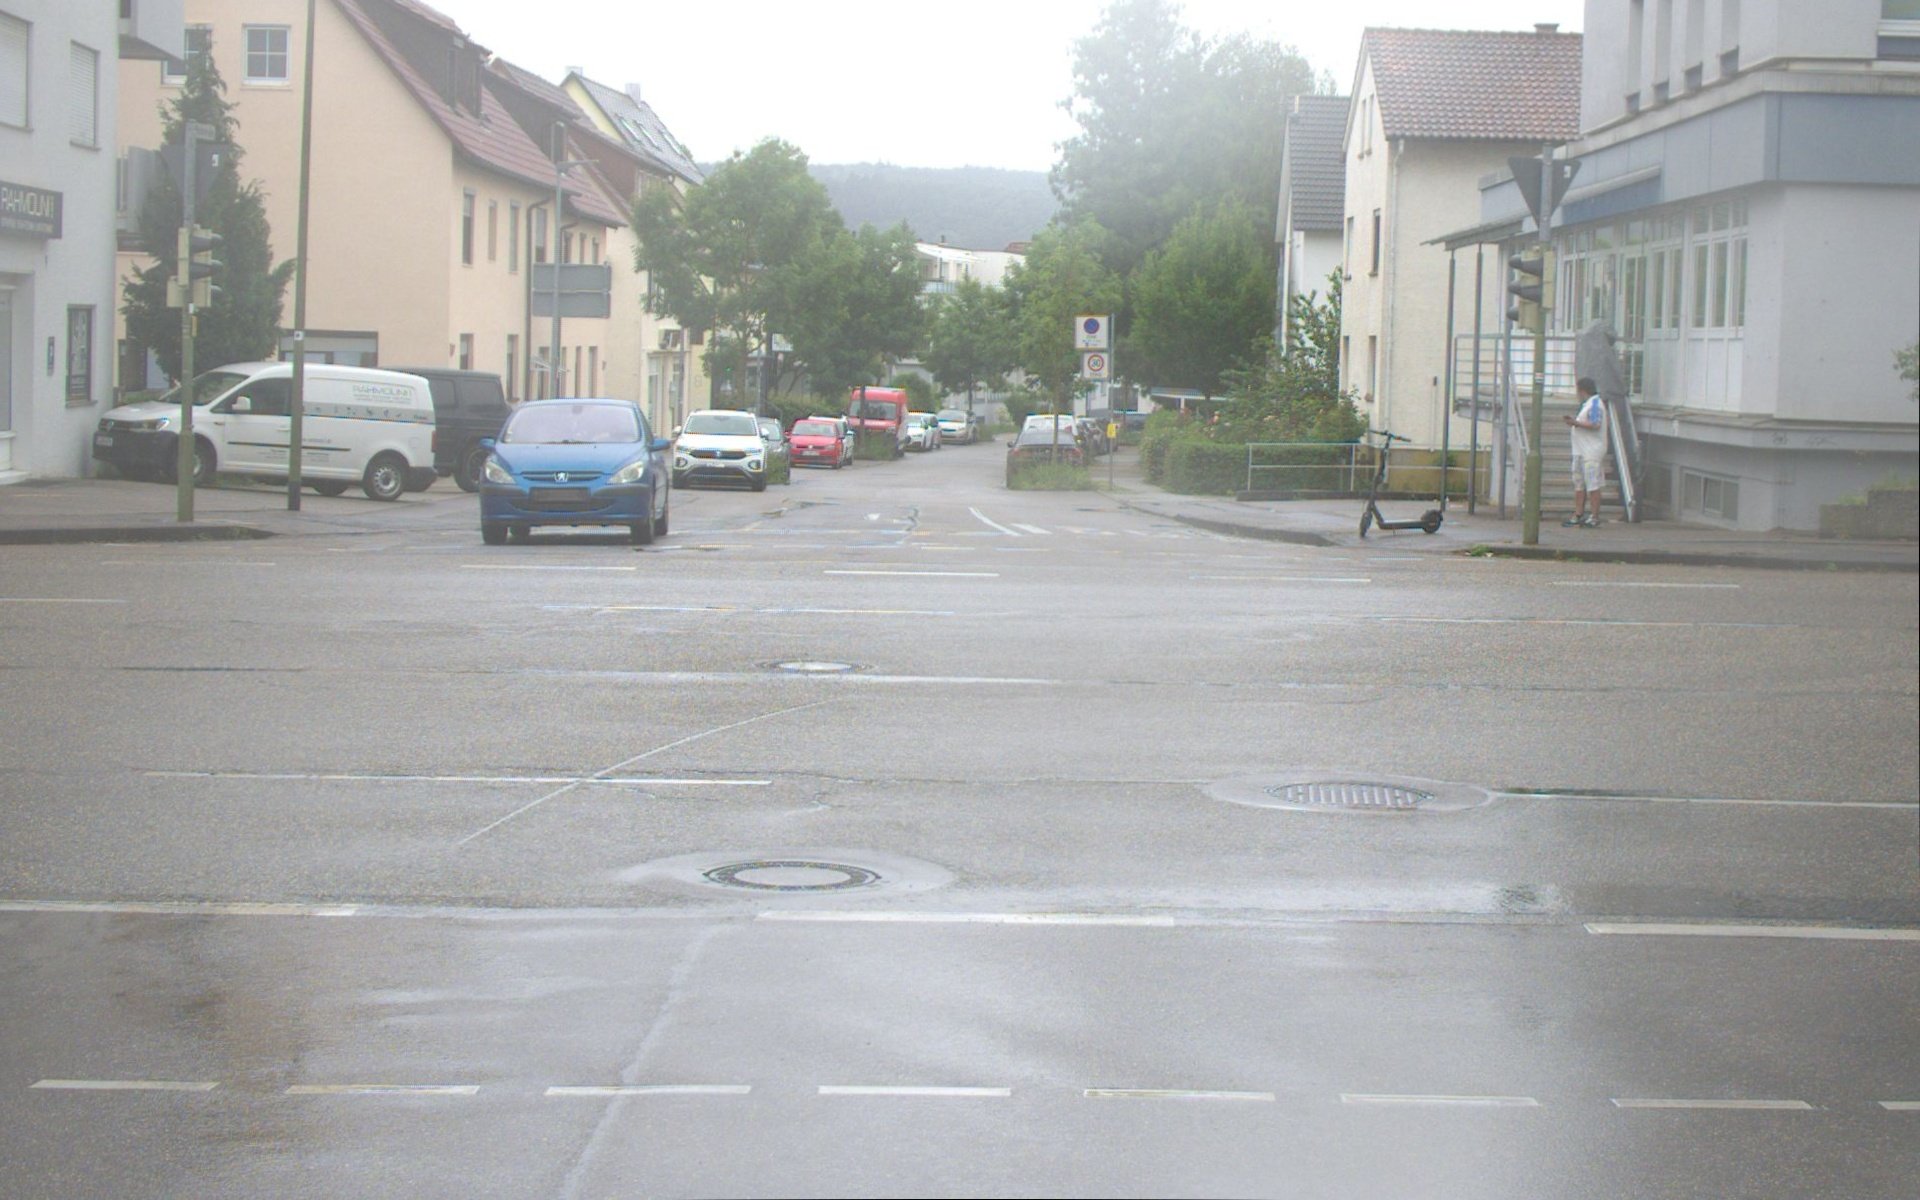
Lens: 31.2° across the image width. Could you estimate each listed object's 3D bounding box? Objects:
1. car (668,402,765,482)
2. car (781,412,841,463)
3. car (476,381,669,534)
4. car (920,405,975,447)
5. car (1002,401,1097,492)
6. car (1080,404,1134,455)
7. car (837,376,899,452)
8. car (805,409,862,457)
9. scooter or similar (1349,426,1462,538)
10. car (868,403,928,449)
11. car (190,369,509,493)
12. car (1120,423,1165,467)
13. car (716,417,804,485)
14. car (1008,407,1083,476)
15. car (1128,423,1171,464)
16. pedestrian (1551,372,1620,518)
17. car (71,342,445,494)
[{"bbox_3d":[-4.780,-3.114,67.833,1.767,1.518,4.001,0,3,-2],"label":"car"},{"bbox_3d":[-4.535,-4.913,104.120,1.767,1.513,4.001,0,3,-3],"label":"car"},{"bbox_3d":[-3.981,-1.439,35.811,1.767,1.440,4.001,1,1,-3],"label":"car"},{"bbox_3d":[-0.542,-7.825,154.620,1.994,1.700,3.999,1,1,6],"label":"car"},{"bbox_3d":[2.146,-3.615,81.474,1.994,2.007,3.999,1,1,5],"label":"car"},{"bbox_3d":[5.899,-6.835,137.918,1.994,2.006,4.000,1,3,5],"label":"car"},{"bbox_3d":[-3.377,-6.855,127.169,2.216,2.759,5.726,0,3,-1],"label":"car"},{"bbox_3d":[-4.154,-5.448,112.382,1.767,1.513,4.001,0,3,-3],"label":"car"},{"bbox_3d":[4.990,-1.318,38.551,1.058,1.223,0.802,1,0,-9],"label":"scooter or similar"},{"bbox_3d":[-2.487,-7.003,138.468,1.994,1.678,3.999,1,1,5],"label":"car"},{"bbox_3d":[-9.645,-2.663,54.528,4.608,1.882,1.963,-2,3,-39],"label":"car"},{"bbox_3d":[8.601,-7.305,161.893,1.994,2.006,4.000,1,3,5],"label":"car"},{"bbox_3d":[-4.602,-3.456,79.481,1.767,1.513,4.195,0,3,0],"label":"car"},{"bbox_3d":[2.589,-4.763,103.454,1.994,2.006,4.000,1,3,5],"label":"car"},{"bbox_3d":[9.407,-7.768,170.474,1.994,2.006,4.000,1,3,5],"label":"car"},{"bbox_3d":[7.197,-1.778,39.571,0.654,1.646,0.646,1,0,0],"label":"pedestrian"},{"bbox_3d":[-9.666,-2.484,47.569,4.715,1.772,1.772,2,1,-39],"label":"car"}]
